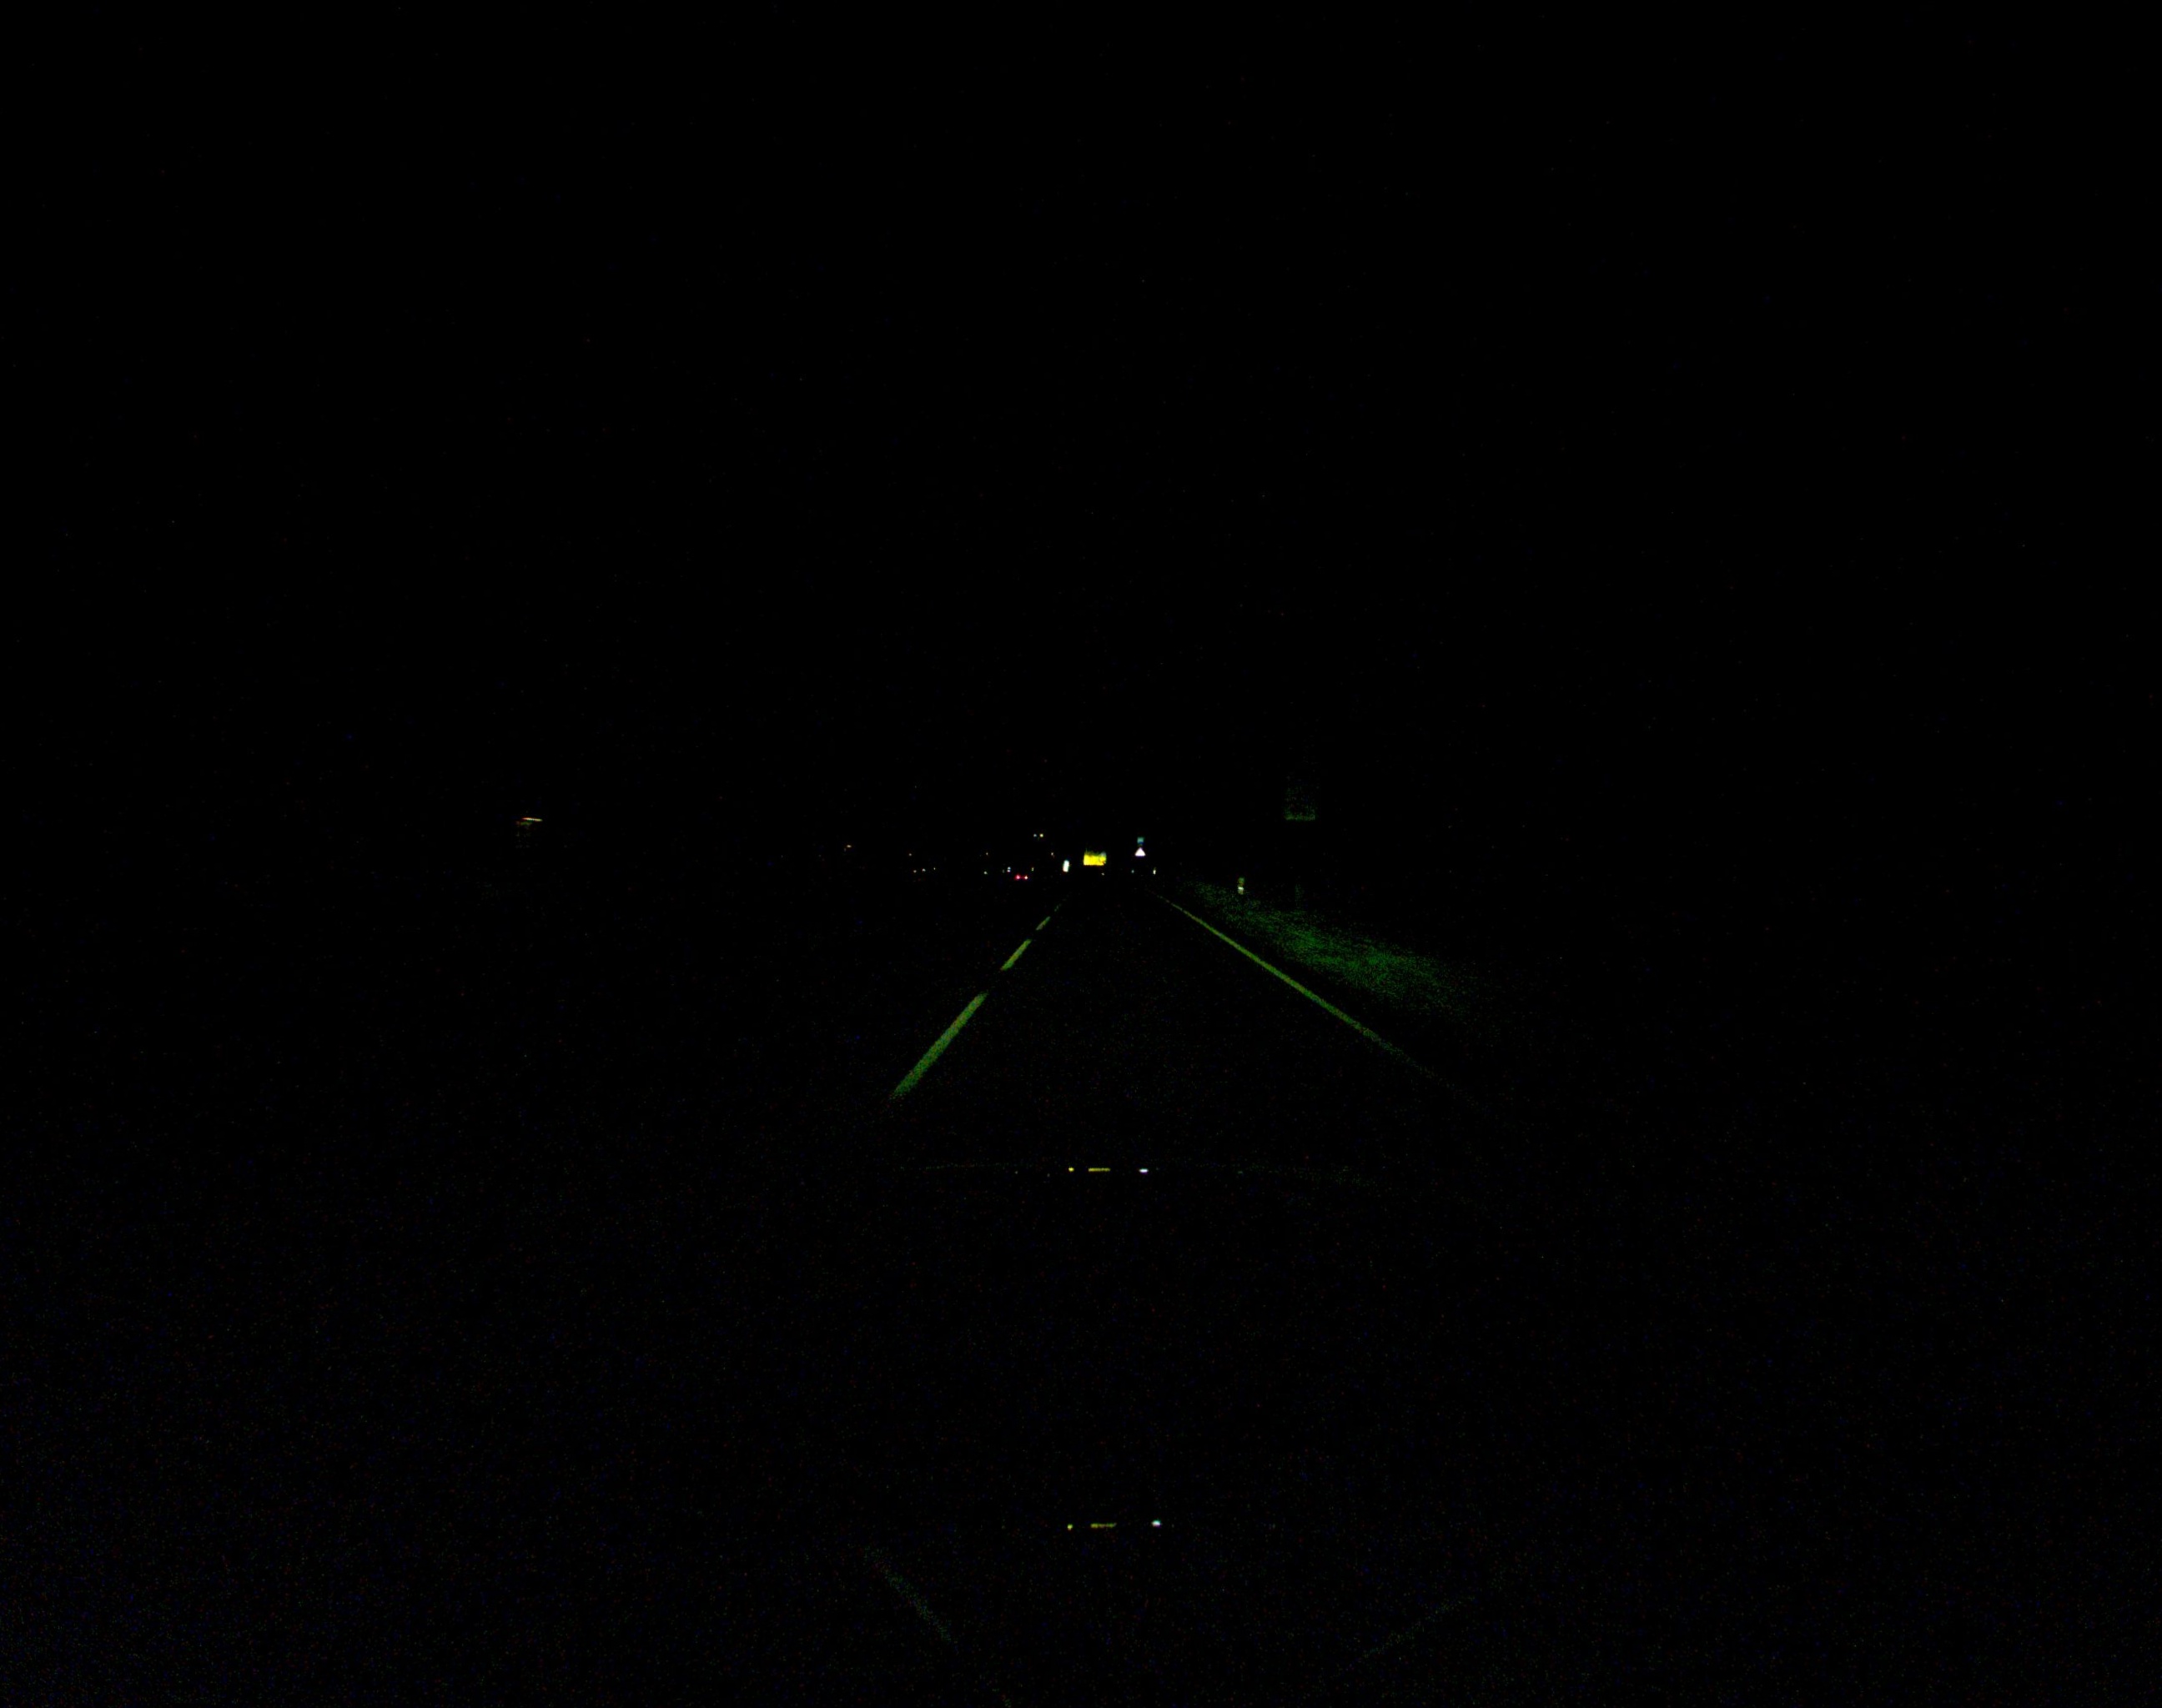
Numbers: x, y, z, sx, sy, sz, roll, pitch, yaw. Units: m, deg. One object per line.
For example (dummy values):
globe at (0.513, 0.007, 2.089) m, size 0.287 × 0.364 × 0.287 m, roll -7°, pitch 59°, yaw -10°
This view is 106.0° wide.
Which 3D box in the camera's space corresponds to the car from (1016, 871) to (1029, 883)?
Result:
car at (-10.607, 4.158, 146.661) m, size 1.992 × 2.014 × 3.988 m, roll 3°, pitch -3°, yaw -8°
